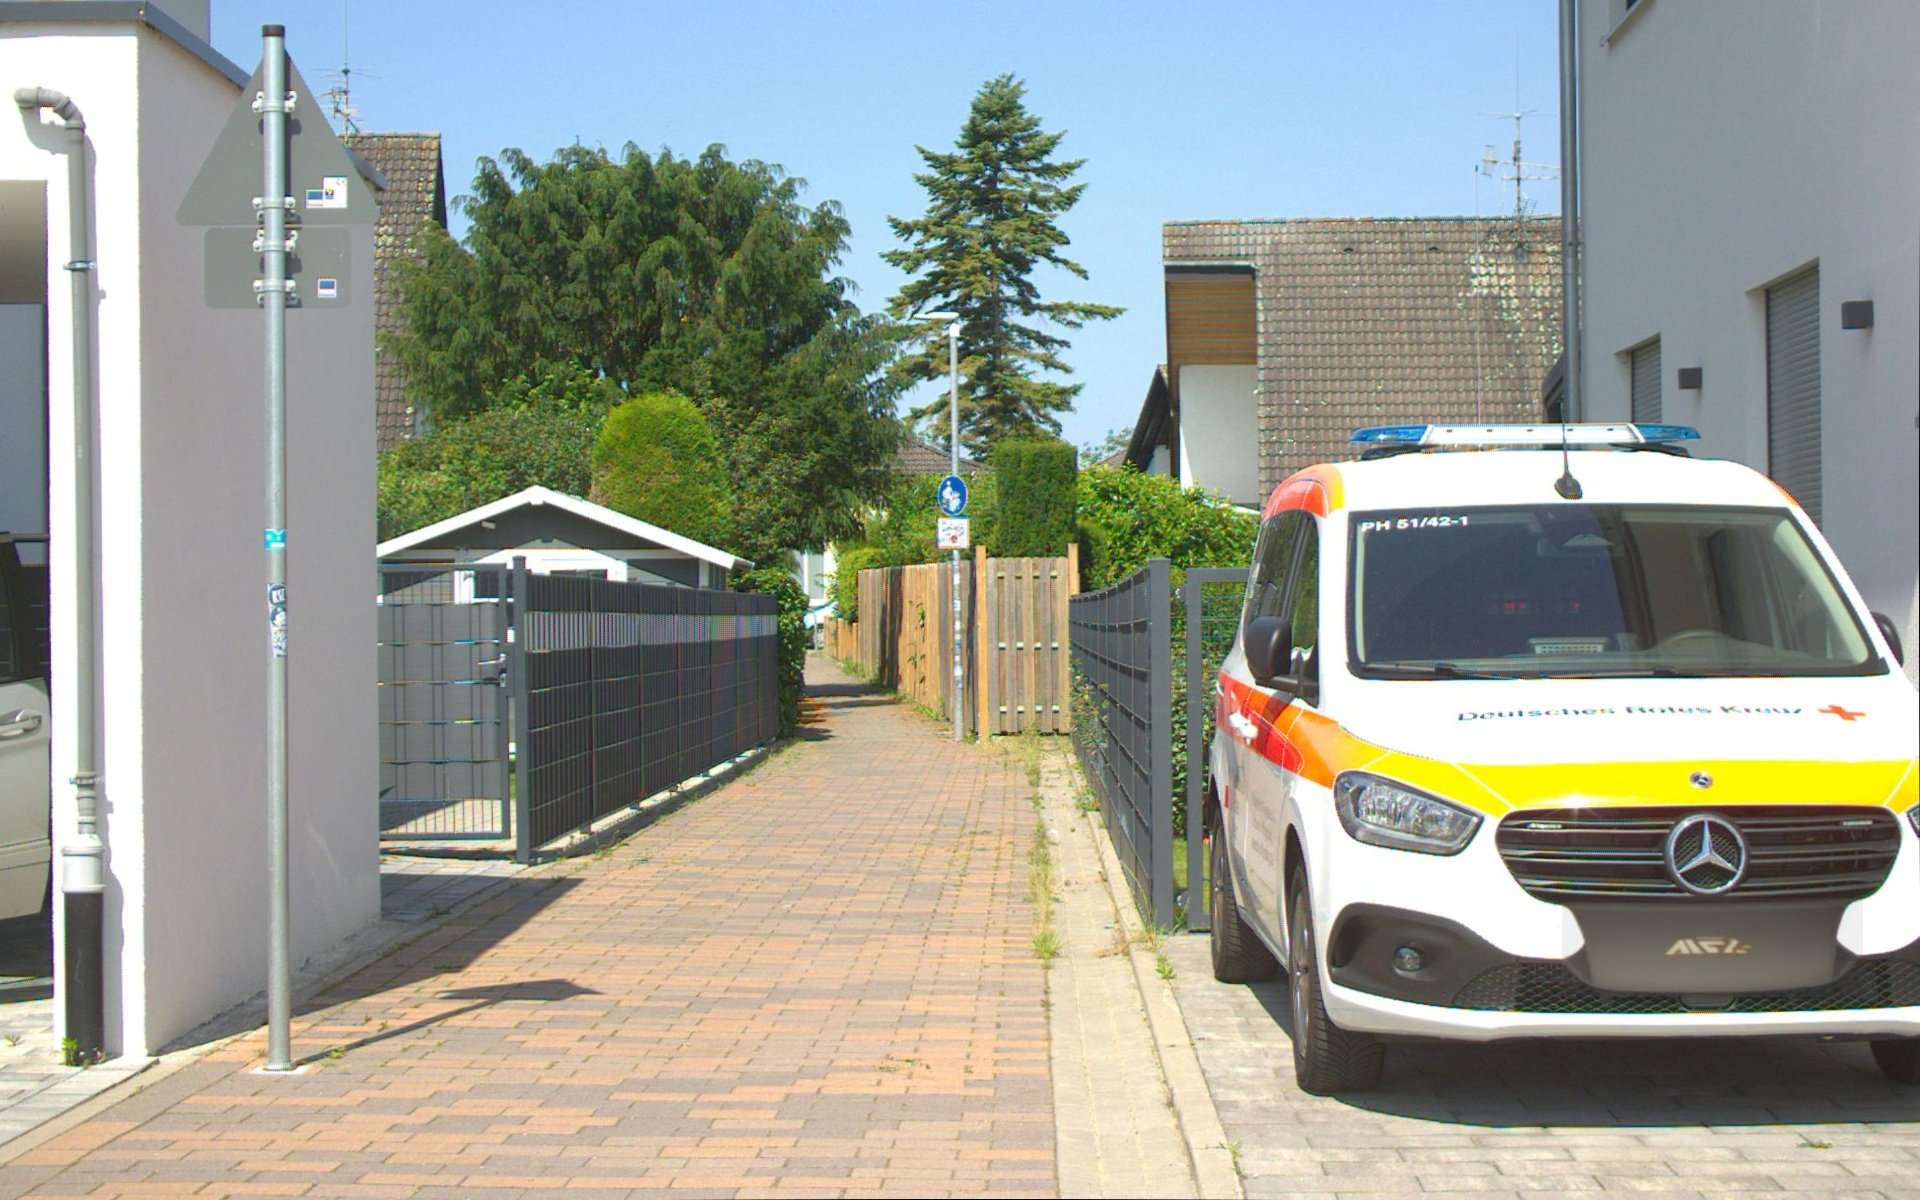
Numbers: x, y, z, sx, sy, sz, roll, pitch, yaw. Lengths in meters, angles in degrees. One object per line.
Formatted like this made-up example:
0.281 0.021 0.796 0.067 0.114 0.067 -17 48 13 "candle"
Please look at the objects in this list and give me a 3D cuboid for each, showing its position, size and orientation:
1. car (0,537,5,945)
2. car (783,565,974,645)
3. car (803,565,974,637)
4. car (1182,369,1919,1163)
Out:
-4.433 0.537 11.059 1.739 1.557 4.166 0 0 -3 "car"
-1.778 0.108 75.747 4.146 1.711 1.906 0 0 0 "car"
-1.741 0.015 84.442 4.146 1.711 1.906 0 0 0 "car"
1.800 0.389 10.484 1.932 1.868 4.752 0 0 0 "car"
